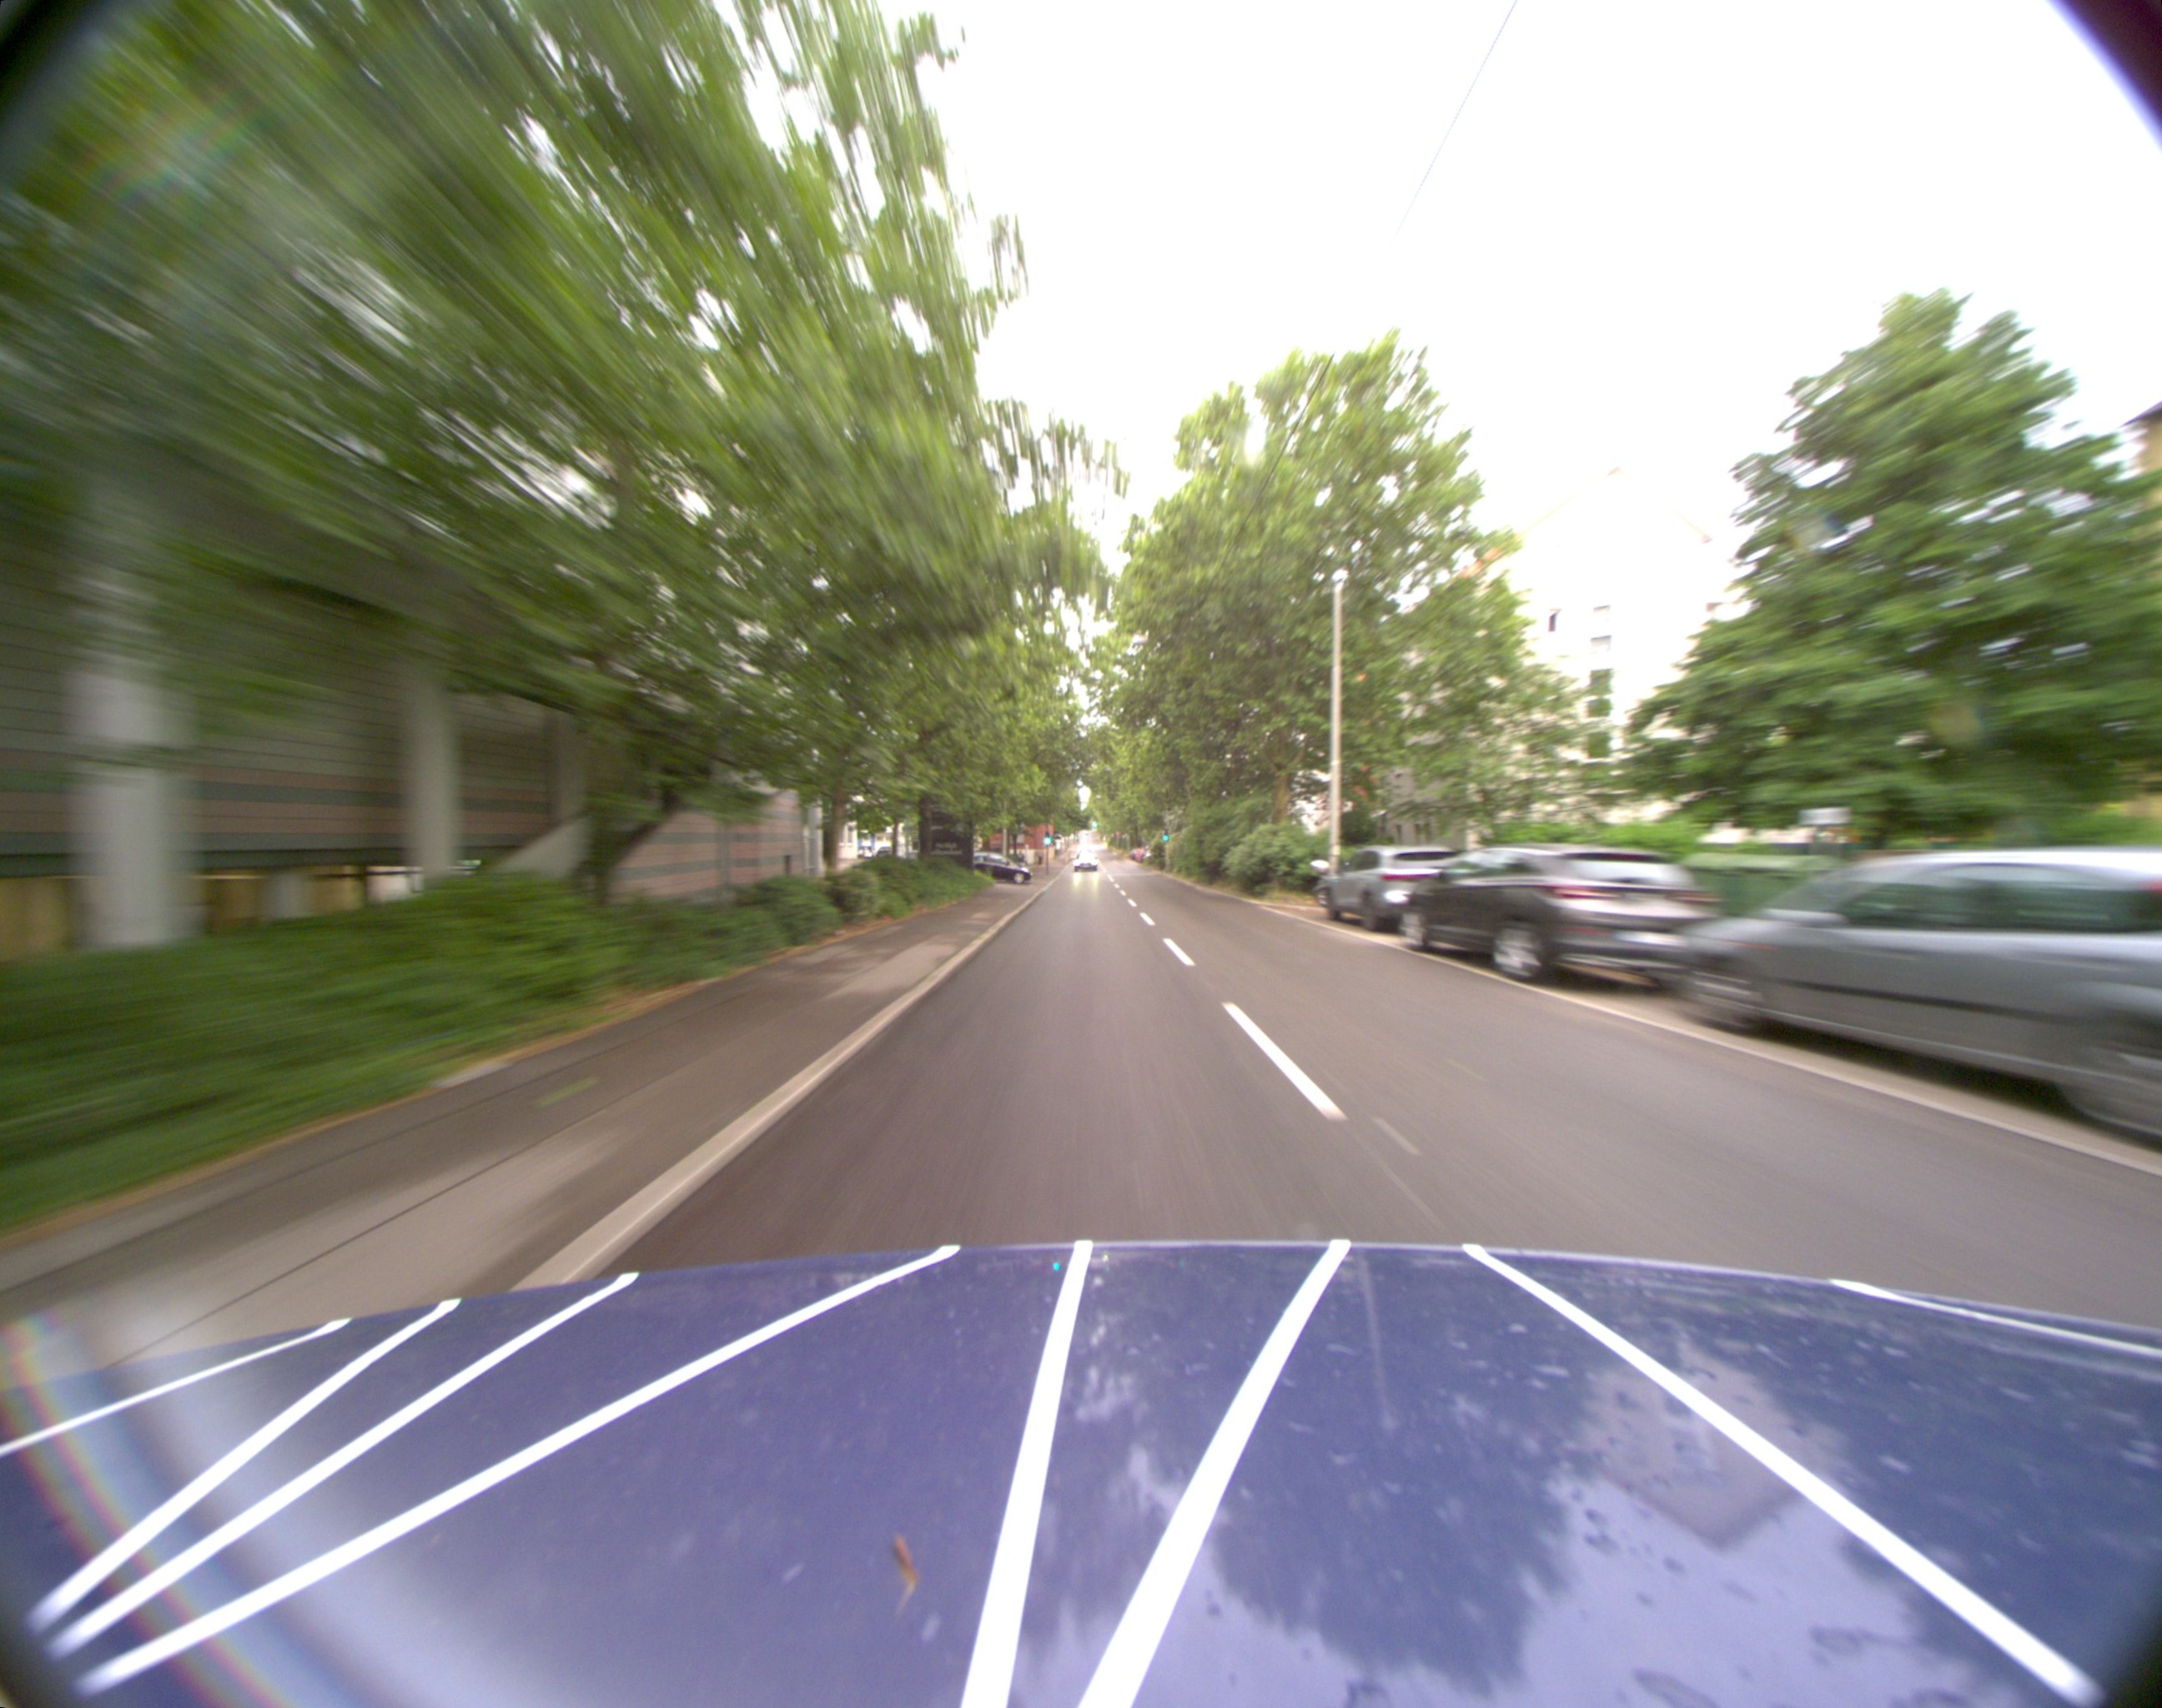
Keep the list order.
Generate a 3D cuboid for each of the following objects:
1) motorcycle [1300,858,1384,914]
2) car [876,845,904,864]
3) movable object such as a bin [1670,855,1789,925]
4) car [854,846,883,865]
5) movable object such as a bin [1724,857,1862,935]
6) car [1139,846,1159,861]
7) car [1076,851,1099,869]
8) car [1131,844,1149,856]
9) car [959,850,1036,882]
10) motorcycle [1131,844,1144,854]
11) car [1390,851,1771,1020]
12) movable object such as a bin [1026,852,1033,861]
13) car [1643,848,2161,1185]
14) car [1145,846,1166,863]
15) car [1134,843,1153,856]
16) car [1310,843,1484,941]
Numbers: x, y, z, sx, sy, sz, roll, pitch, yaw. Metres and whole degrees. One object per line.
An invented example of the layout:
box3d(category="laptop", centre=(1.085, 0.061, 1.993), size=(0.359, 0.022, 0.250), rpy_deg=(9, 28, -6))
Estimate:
box3d(category="motorcycle", centre=(6.715, 0.813, 19.631), size=(1.844, 1.308, 0.783), rpy_deg=(2, 1, 0))
box3d(category="car", centre=(-21.110, 0.039, 83.912), size=(1.913, 1.808, 3.996), rpy_deg=(-2, 2, 1))
box3d(category="movable object such as a bin", centre=(13.470, 0.723, 15.854), size=(1.238, 1.372, 1.480), rpy_deg=(0, 1, 3))
box3d(category="car", centre=(-23.399, 0.141, 83.752), size=(1.913, 1.808, 3.996), rpy_deg=(-2, 2, 1))
box3d(category="movable object such as a bin", centre=(13.387, 0.766, 14.359), size=(1.238, 1.372, 1.480), rpy_deg=(0, 1, 3))
box3d(category="car", centre=(7.096, -0.080, 79.550), size=(1.721, 1.459, 4.232), rpy_deg=(-1, 1, -1))
box3d(category="car", centre=(0.473, 0.469, 60.803), size=(1.692, 1.334, 3.998), rpy_deg=(0, 2, -2))
box3d(category="car", centre=(7.497, -0.533, 96.772), size=(1.721, 1.501, 4.802), rpy_deg=(-1, 1, -1))
box3d(category="car", centre=(-4.267, 0.595, 39.051), size=(3.860, 1.538, 2.025), rpy_deg=(1, 1, -5))
box3d(category="motorcycle", centre=(7.578, -0.630, 101.840), size=(1.717, 1.333, 0.722), rpy_deg=(0, 2, 1))
box3d(category="car", centre=(5.713, 0.782, 9.498), size=(1.869, 1.582, 4.238), rpy_deg=(2, 0, -1))
box3d(category="movable object such as a bin", centre=(-5.105, 0.241, 75.300), size=(0.592, 0.927, 0.572), rpy_deg=(1, 1, 0))
box3d(category="car", centre=(5.863, 0.744, 4.788), size=(1.676, 1.499, 4.123), rpy_deg=(-2, 1, 2))
box3d(category="car", centre=(7.178, 0.047, 73.276), size=(1.721, 1.459, 4.309), rpy_deg=(-1, 1, 1))
box3d(category="car", centre=(7.083, -0.541, 86.131), size=(1.721, 1.459, 3.754), rpy_deg=(-1, 1, -1))
box3d(category="car", centre=(6.308, 0.682, 15.785), size=(1.738, 1.648, 4.564), rpy_deg=(3, 0, 2))
